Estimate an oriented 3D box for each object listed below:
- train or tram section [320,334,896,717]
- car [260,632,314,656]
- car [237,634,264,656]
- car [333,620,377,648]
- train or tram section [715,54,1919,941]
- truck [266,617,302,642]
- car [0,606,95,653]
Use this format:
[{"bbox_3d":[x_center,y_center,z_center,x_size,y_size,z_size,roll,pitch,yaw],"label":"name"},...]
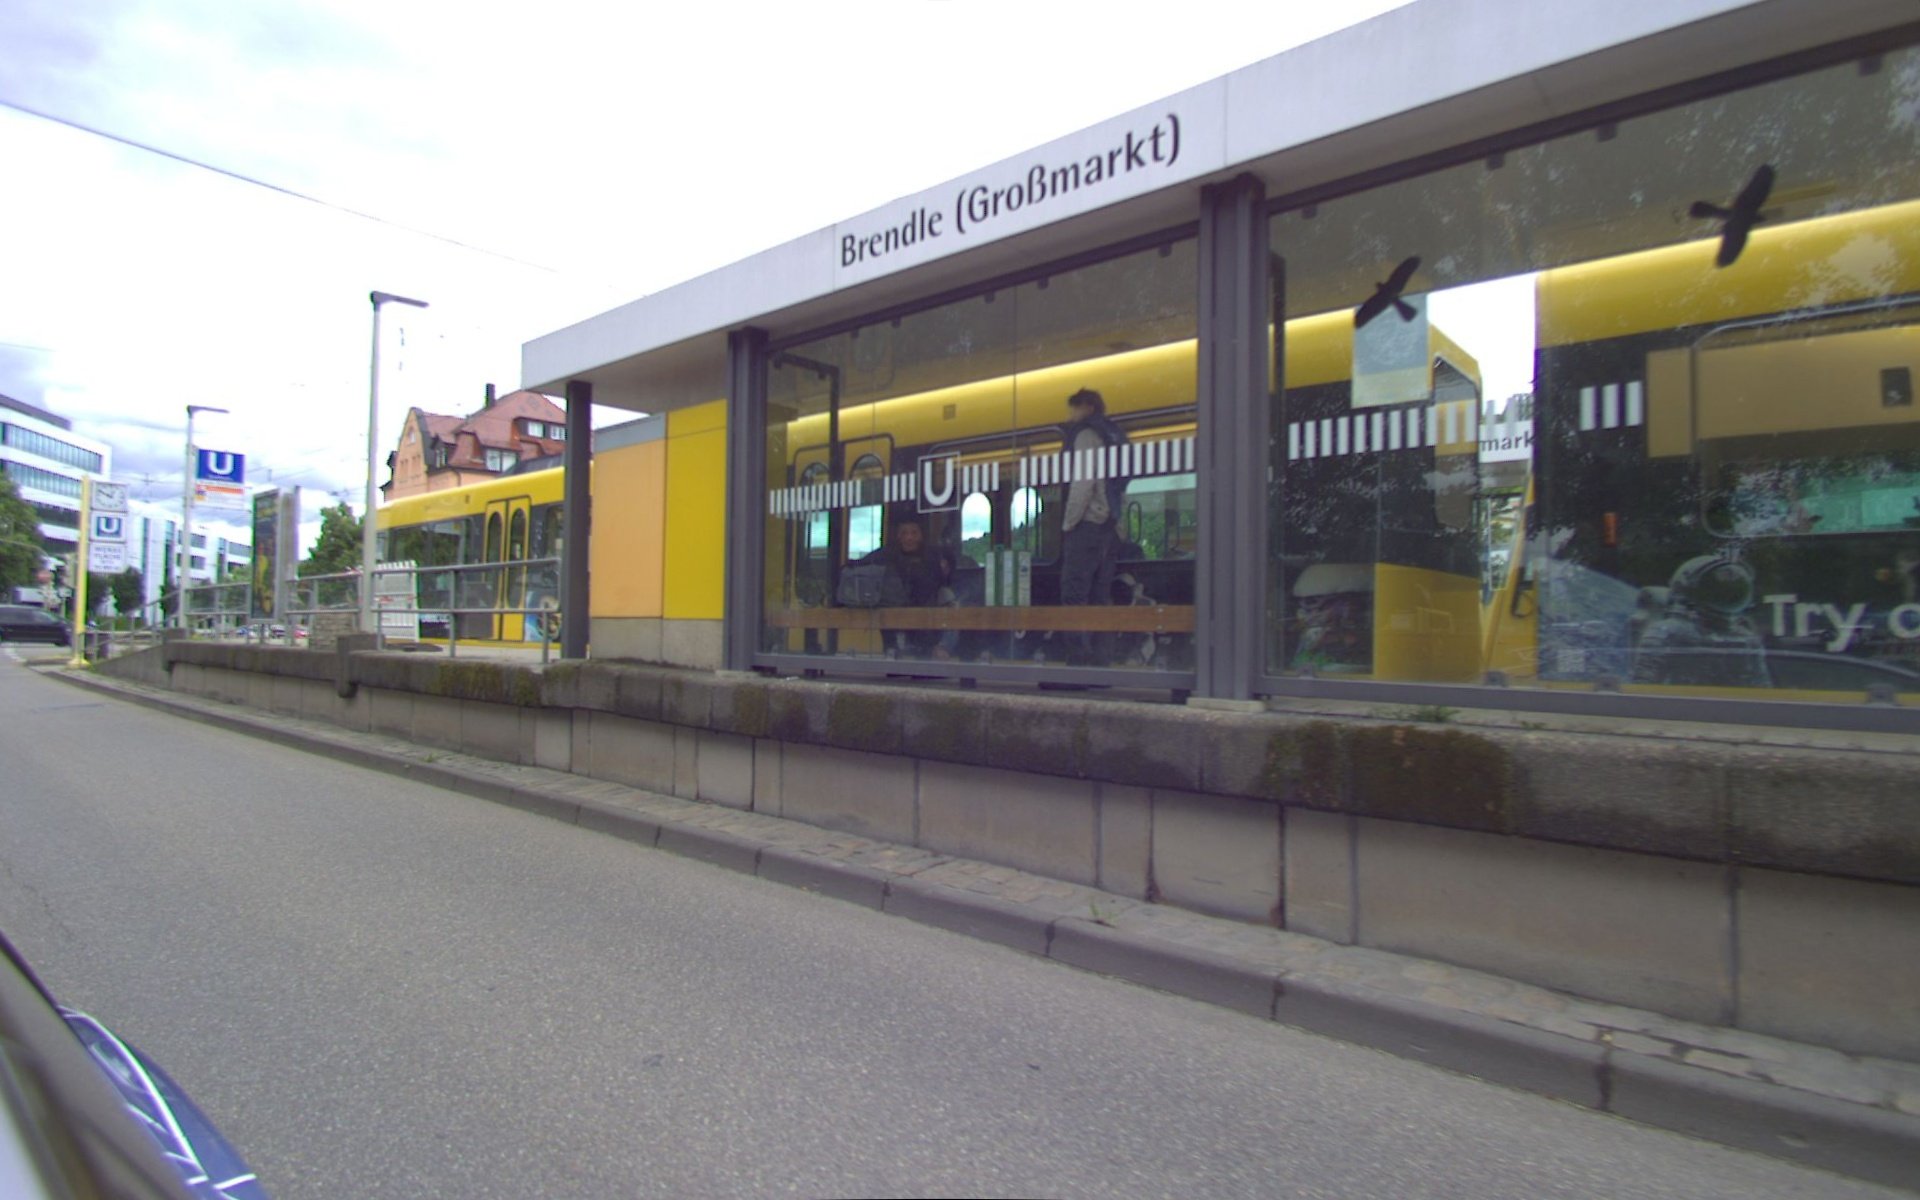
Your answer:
[{"bbox_3d":[-6.167,-0.593,15.454,11.904,3.997,2.712,-2,-3,41],"label":"train or tram section"},{"bbox_3d":[-52.907,3.453,79.535,3.976,1.536,1.689,3,1,24],"label":"car"},{"bbox_3d":[-65.969,4.200,94.068,1.575,1.430,3.378,-8,-5,-42],"label":"car"},{"bbox_3d":[-37.076,2.051,61.986,1.740,1.541,3.747,3,-2,-40],"label":"car"},{"bbox_3d":[2.839,-0.356,7.626,11.904,3.997,2.712,-2,-3,41],"label":"train or tram section"},{"bbox_3d":[-70.956,3.109,106.307,2.281,2.440,5.672,3,-3,-27],"label":"truck"},{"bbox_3d":[-36.952,1.178,39.763,1.828,1.785,4.181,-3,-4,34],"label":"car"}]
